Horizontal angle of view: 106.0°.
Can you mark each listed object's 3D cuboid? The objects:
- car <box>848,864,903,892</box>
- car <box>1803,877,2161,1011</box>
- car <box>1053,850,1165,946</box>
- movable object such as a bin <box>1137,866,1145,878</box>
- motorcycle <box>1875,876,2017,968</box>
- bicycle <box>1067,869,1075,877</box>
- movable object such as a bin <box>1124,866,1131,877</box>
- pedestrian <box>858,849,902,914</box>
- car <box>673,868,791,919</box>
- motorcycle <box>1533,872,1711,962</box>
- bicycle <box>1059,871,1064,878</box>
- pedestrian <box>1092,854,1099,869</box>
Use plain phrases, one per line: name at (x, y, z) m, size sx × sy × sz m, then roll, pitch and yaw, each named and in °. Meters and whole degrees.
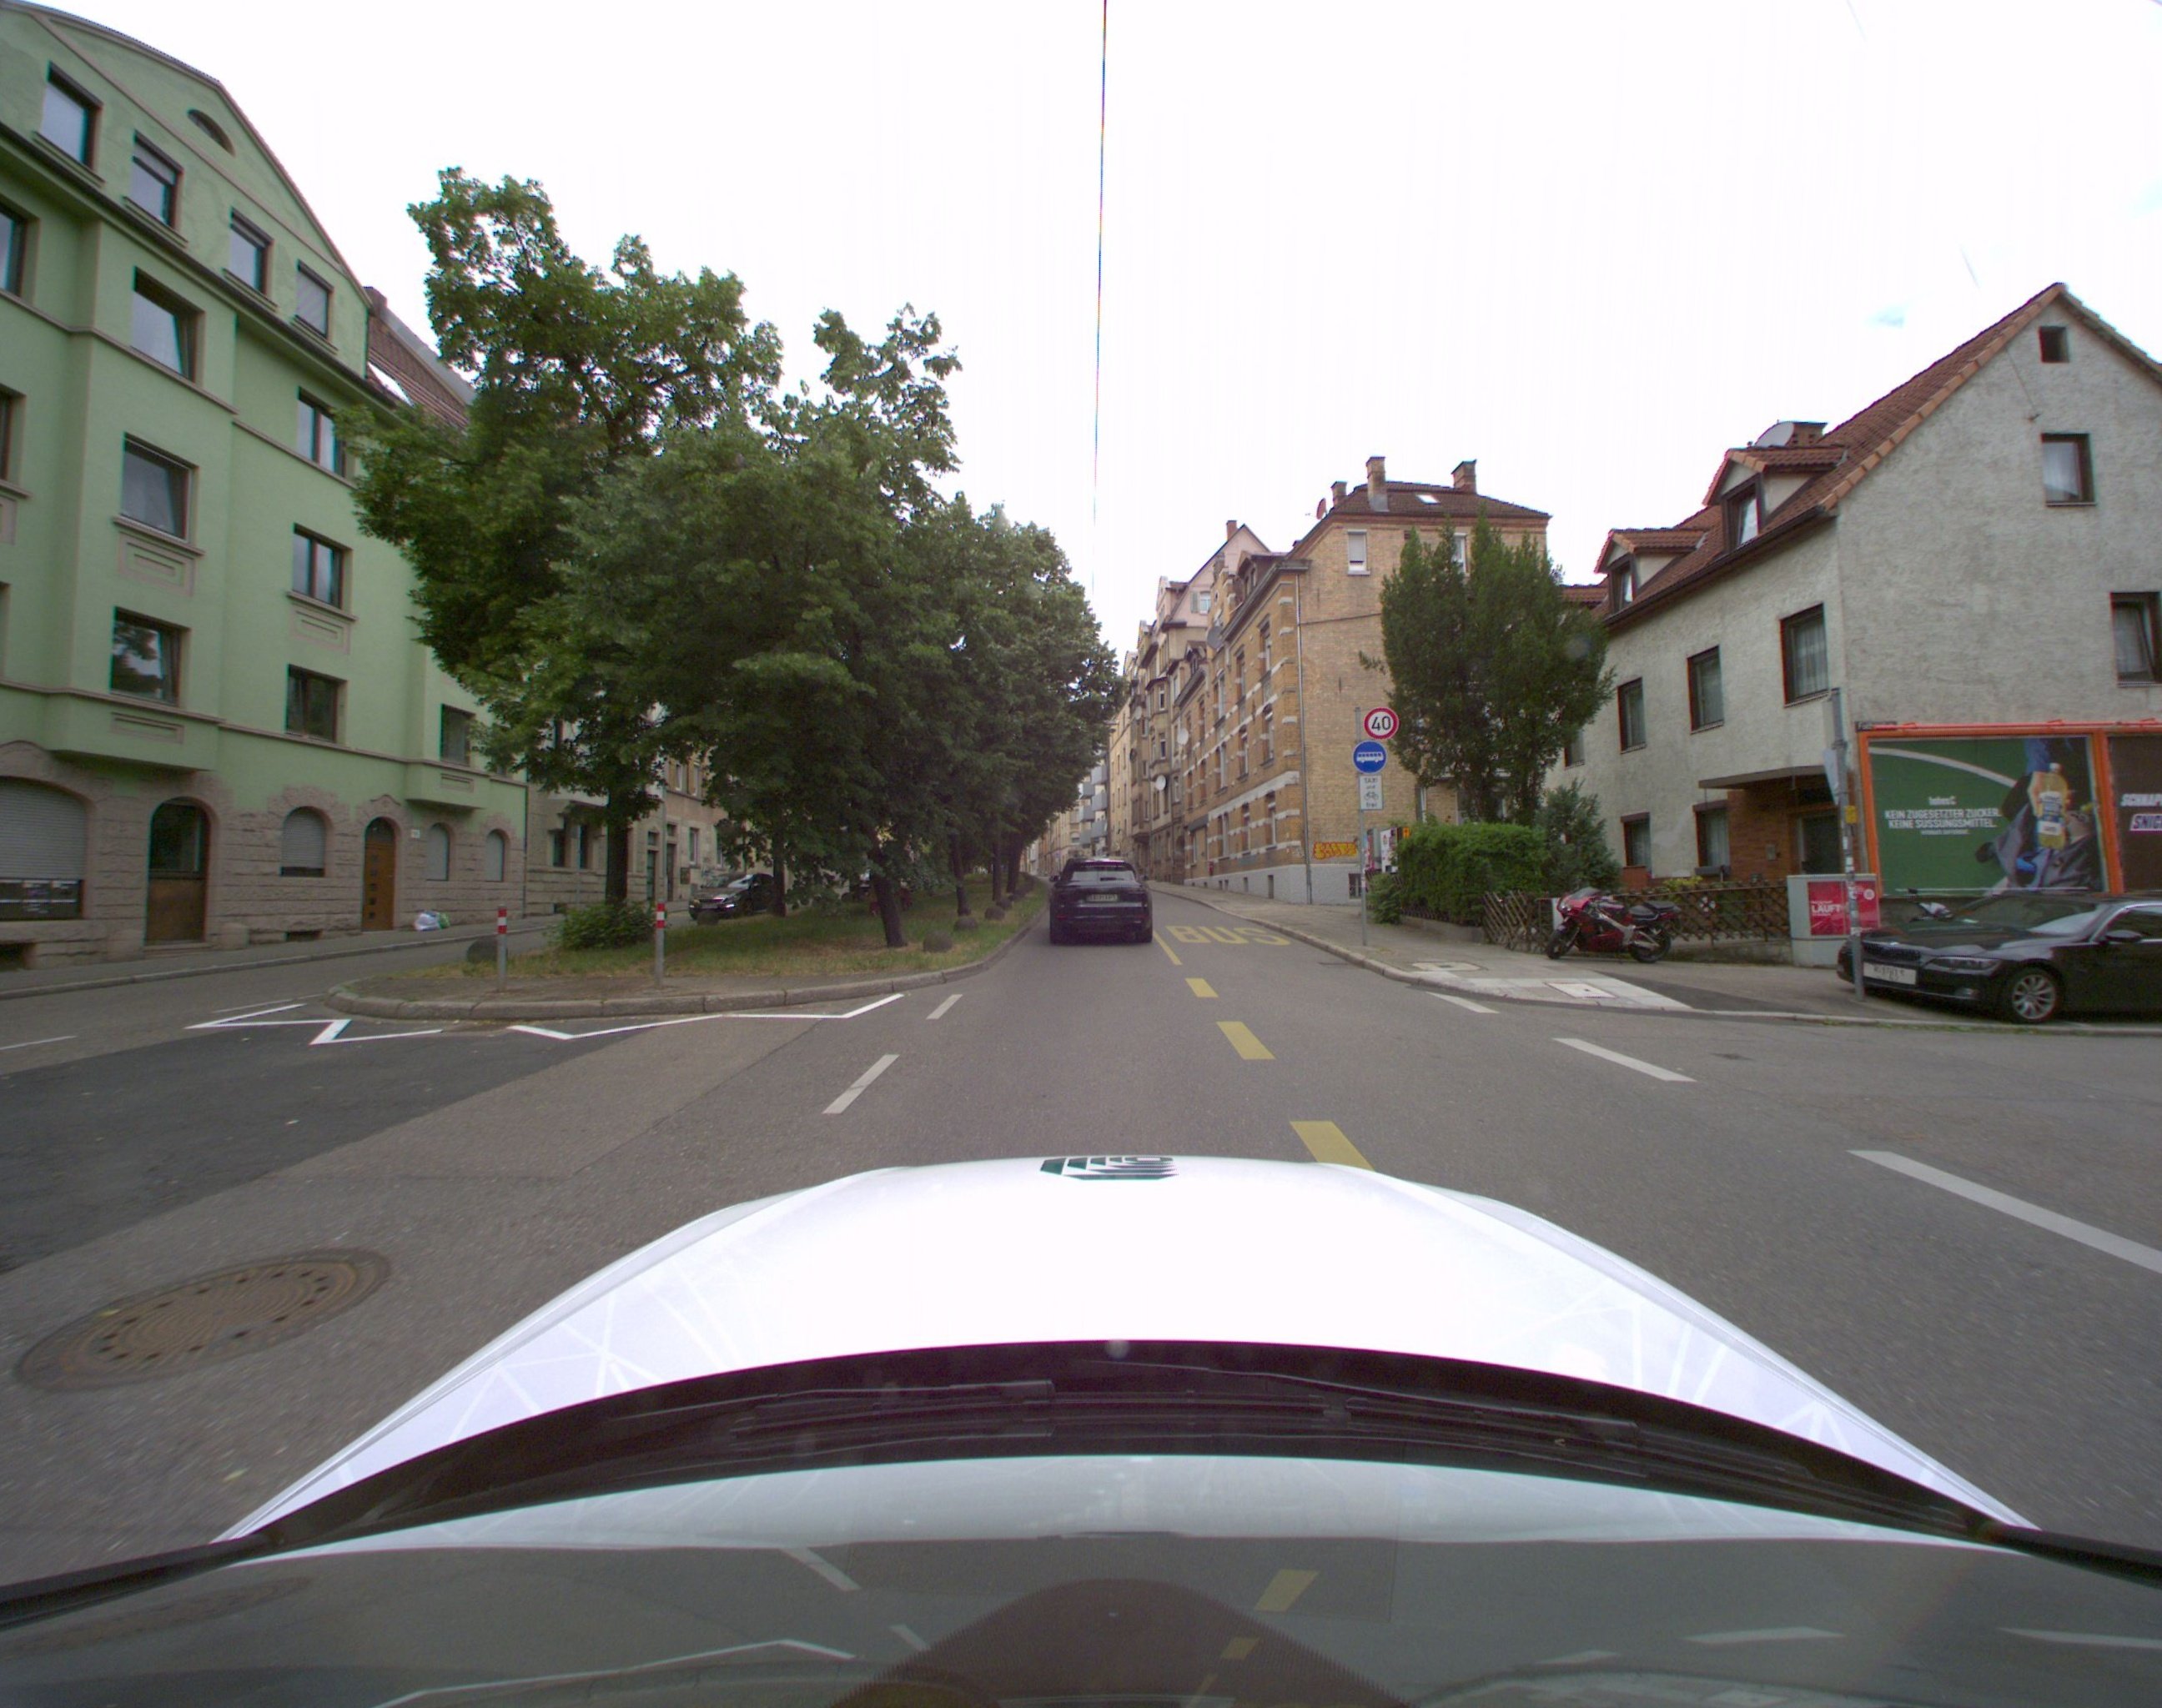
car at (-11.650, 1.323, 46.460) m, size 1.752 × 1.382 × 4.670 m, roll -2°, pitch 0°, yaw 2°
car at (11.306, 0.982, 9.579) m, size 4.113 × 1.285 × 1.782 m, roll 0°, pitch 3°, yaw -2°
car at (0.477, 0.790, 16.688) m, size 1.988 × 1.665 × 3.999 m, roll 1°, pitch 1°, yaw -1°
movable object such as a bin at (4.658, 1.382, 63.261) m, size 0.593 × 0.904 × 0.562 m, roll 0°, pitch -1°, yaw -4°
motorcycle at (13.267, 1.019, 12.517) m, size 1.450 × 1.344 × 0.712 m, roll 1°, pitch -1°, yaw -1°
bicycle at (-1.504, 2.880, 122.912) m, size 0.878 × 1.129 × 2.972 m, roll 0°, pitch -2°, yaw -6°
movable object such as a bin at (4.102, 1.533, 71.842) m, size 0.593 × 0.904 × 0.502 m, roll 0°, pitch -5°, yaw -4°
pedestrian at (-5.563, 0.760, 22.618) m, size 0.830 × 1.712 × 1.123 m, roll -4°, pitch -3°, yaw 1°
car at (-11.385, 1.238, 26.963) m, size 1.702 × 1.382 × 4.670 m, roll -2°, pitch 0°, yaw 2°
motorcycle at (8.060, 0.918, 12.201) m, size 2.051 × 1.268 × 1.009 m, roll 1°, pitch -1°, yaw -4°
bicycle at (-3.234, 3.404, 133.862) m, size 0.446 × 1.037 × 2.242 m, roll -1°, pitch -3°, yaw -8°
pedestrian at (1.626, 0.847, 92.212) m, size 0.750 × 1.693 × 0.857 m, roll -1°, pitch -3°, yaw -5°
